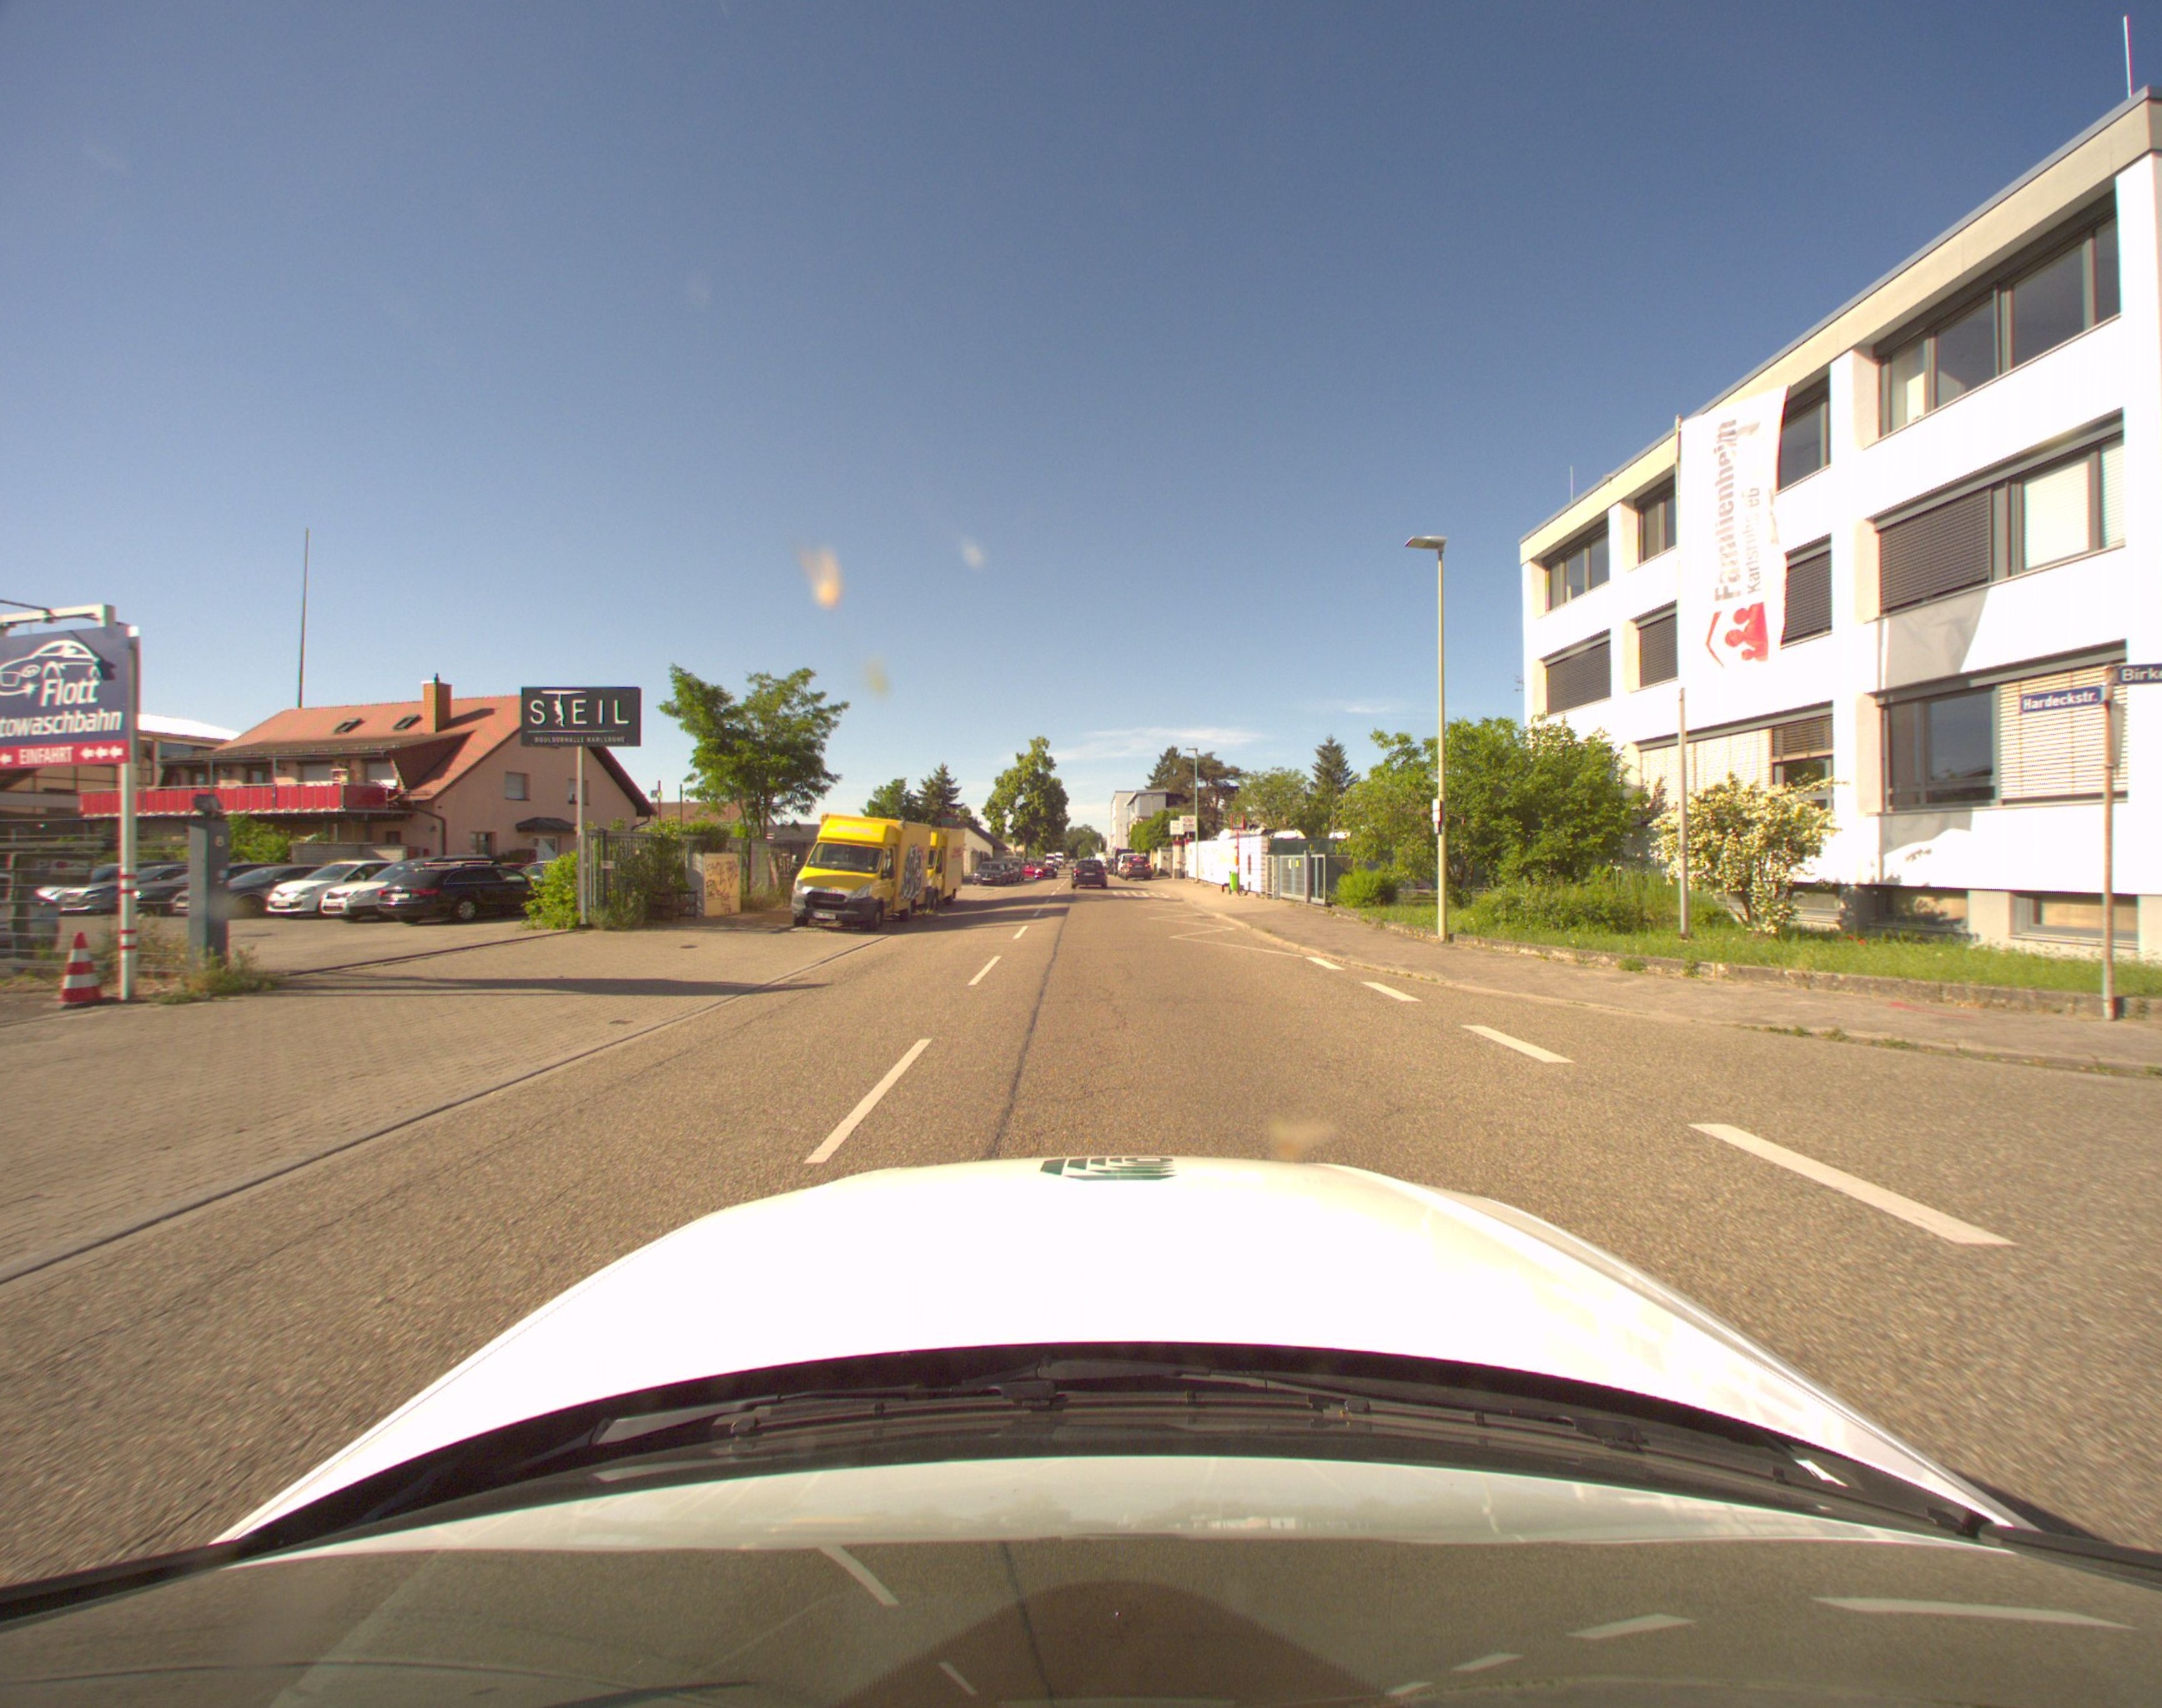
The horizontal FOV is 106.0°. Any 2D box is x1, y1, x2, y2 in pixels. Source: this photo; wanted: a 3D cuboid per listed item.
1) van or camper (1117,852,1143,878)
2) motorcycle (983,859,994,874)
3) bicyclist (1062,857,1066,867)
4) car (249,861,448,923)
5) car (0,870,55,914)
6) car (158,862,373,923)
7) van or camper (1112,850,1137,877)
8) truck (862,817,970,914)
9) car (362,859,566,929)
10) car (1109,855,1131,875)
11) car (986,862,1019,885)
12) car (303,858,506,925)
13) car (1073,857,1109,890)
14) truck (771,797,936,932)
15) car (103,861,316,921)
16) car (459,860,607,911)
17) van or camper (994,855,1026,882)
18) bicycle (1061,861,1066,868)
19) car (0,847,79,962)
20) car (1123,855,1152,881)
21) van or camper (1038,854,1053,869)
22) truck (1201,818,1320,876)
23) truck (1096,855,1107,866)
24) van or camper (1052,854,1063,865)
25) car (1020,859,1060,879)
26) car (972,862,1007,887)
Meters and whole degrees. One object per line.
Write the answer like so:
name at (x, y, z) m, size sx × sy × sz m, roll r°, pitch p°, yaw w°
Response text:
van or camper at (3.893, 0.841, 65.369) m, size 1.912 × 2.019 × 4.080 m, roll 0°, pitch 0°, yaw 1°
motorcycle at (-8.779, 1.161, 77.662) m, size 0.774 × 1.445 × 2.038 m, roll 0°, pitch 0°, yaw 1°
bicyclist at (-2.894, 1.318, 135.694) m, size 0.693 × 1.539 × 0.634 m, roll 0°, pitch -1°, yaw -2°
car at (-20.784, 1.011, 23.333) m, size 1.682 × 1.578 × 3.932 m, roll 0°, pitch 0°, yaw 14°
car at (-38.240, 1.331, 27.769) m, size 1.583 × 1.494 × 3.769 m, roll 0°, pitch 0°, yaw 4°
car at (-23.256, 1.022, 23.456) m, size 1.682 × 1.578 × 4.059 m, roll 0°, pitch 0°, yaw 14°
van or camper at (3.748, 0.805, 70.431) m, size 1.987 × 2.310 × 4.000 m, roll 0°, pitch 0°, yaw 1°
truck at (-5.495, 0.351, 28.166) m, size 2.184 × 2.902 × 6.440 m, roll 2°, pitch 0°, yaw 2°
car at (-15.914, 0.959, 21.287) m, size 1.682 × 1.578 × 4.060 m, roll 0°, pitch 0°, yaw 14°
car at (3.695, 1.026, 78.164) m, size 1.912 × 1.825 × 4.080 m, roll 0°, pitch 0°, yaw 1°
car at (-5.327, 1.305, 55.540) m, size 1.687 × 1.469 × 4.176 m, roll 0°, pitch 0°, yaw 3°
car at (-18.384, 0.950, 22.397) m, size 1.682 × 1.661 × 4.059 m, roll 0°, pitch 0°, yaw 14°
car at (0.514, 0.957, 40.609) m, size 1.705 × 1.532 × 3.688 m, roll -1°, pitch 0°, yaw 1°
truck at (-5.682, 0.259, 21.531) m, size 2.394 × 2.983 × 6.374 m, roll 1°, pitch 0°, yaw 1°
car at (-25.675, 1.026, 24.230) m, size 1.704 × 1.606 × 4.125 m, roll 0°, pitch 0°, yaw 4°
car at (-18.364, 1.007, 27.538) m, size 1.682 × 1.578 × 4.059 m, roll 0°, pitch 0°, yaw 14°
van or camper at (-5.209, 1.055, 60.127) m, size 1.884 × 1.926 × 4.267 m, roll -1°, pitch -1°, yaw 1°
bicycle at (-2.887, 1.691, 135.824) m, size 0.826 × 1.153 × 2.939 m, roll 0°, pitch 0°, yaw -1°
car at (-18.865, 0.800, 12.998) m, size 4.063 × 1.792 × 1.851 m, roll 0°, pitch 0°, yaw 10°
car at (4.062, 1.005, 59.023) m, size 1.912 × 1.825 × 4.080 m, roll 0°, pitch 0°, yaw 1°
van or camper at (-5.849, 1.141, 132.242) m, size 2.318 × 2.362 × 6.520 m, roll 0°, pitch 0°, yaw -3°
truck at (12.044, -0.457, 54.882) m, size 7.359 × 3.771 × 2.829 m, roll 0°, pitch -1°, yaw -4°
truck at (4.108, 1.305, 164.755) m, size 1.987 × 2.288 × 6.955 m, roll 0°, pitch 0°, yaw 1°
van or camper at (-5.296, 1.214, 181.606) m, size 2.318 × 2.362 × 6.520 m, roll 0°, pitch 0°, yaw -3°
car at (-3.277, 1.178, 64.710) m, size 1.884 × 1.485 × 4.012 m, roll -2°, pitch 0°, yaw -24°
car at (-5.558, 1.234, 50.036) m, size 1.752 × 1.403 × 4.555 m, roll 0°, pitch 0°, yaw -1°
